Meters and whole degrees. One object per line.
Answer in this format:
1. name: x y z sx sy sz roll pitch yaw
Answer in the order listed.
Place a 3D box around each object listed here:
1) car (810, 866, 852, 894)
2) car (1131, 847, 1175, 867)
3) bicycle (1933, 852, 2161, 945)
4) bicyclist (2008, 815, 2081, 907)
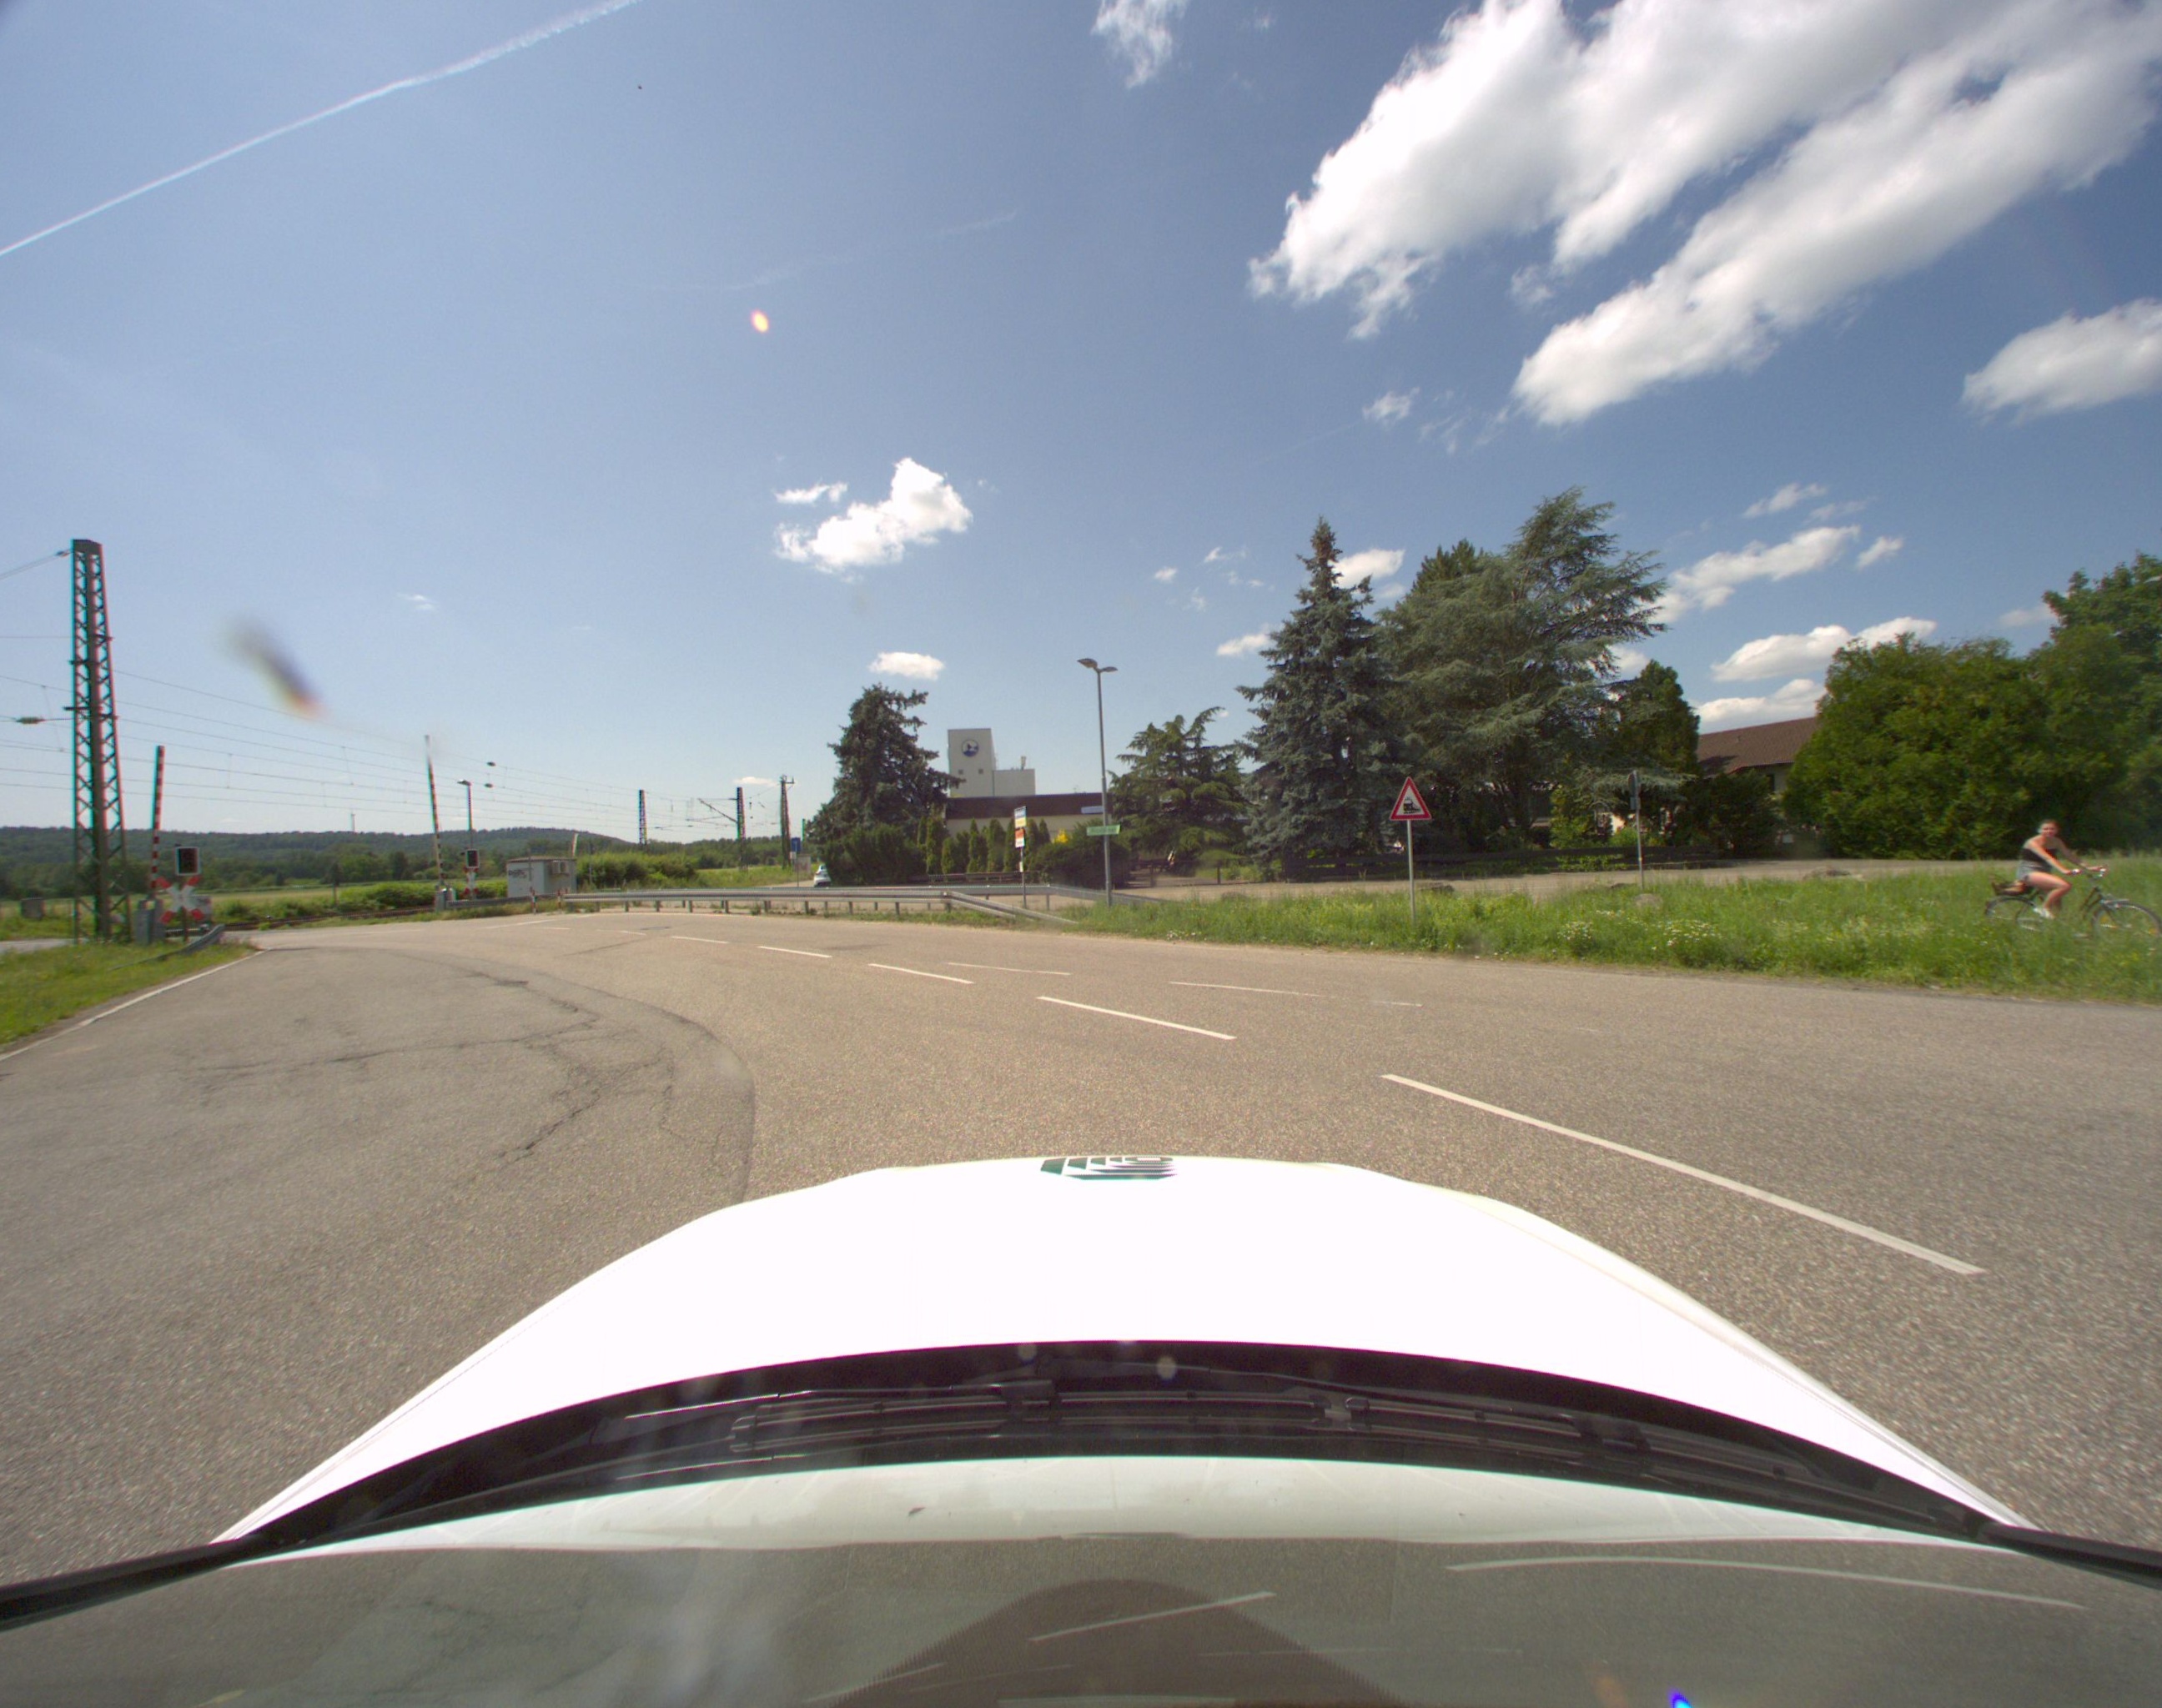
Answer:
1. car: -15.763 1.590 51.567 1.994 1.509 4.438 -3 1 -11
2. car: 6.366 0.238 72.024 3.523 1.585 1.561 -3 1 -9
3. bicycle: 13.730 0.575 11.590 0.661 1.164 2.133 -3 1 -18
4. bicyclist: 13.707 0.091 11.595 0.469 1.255 0.508 -2 1 -18
